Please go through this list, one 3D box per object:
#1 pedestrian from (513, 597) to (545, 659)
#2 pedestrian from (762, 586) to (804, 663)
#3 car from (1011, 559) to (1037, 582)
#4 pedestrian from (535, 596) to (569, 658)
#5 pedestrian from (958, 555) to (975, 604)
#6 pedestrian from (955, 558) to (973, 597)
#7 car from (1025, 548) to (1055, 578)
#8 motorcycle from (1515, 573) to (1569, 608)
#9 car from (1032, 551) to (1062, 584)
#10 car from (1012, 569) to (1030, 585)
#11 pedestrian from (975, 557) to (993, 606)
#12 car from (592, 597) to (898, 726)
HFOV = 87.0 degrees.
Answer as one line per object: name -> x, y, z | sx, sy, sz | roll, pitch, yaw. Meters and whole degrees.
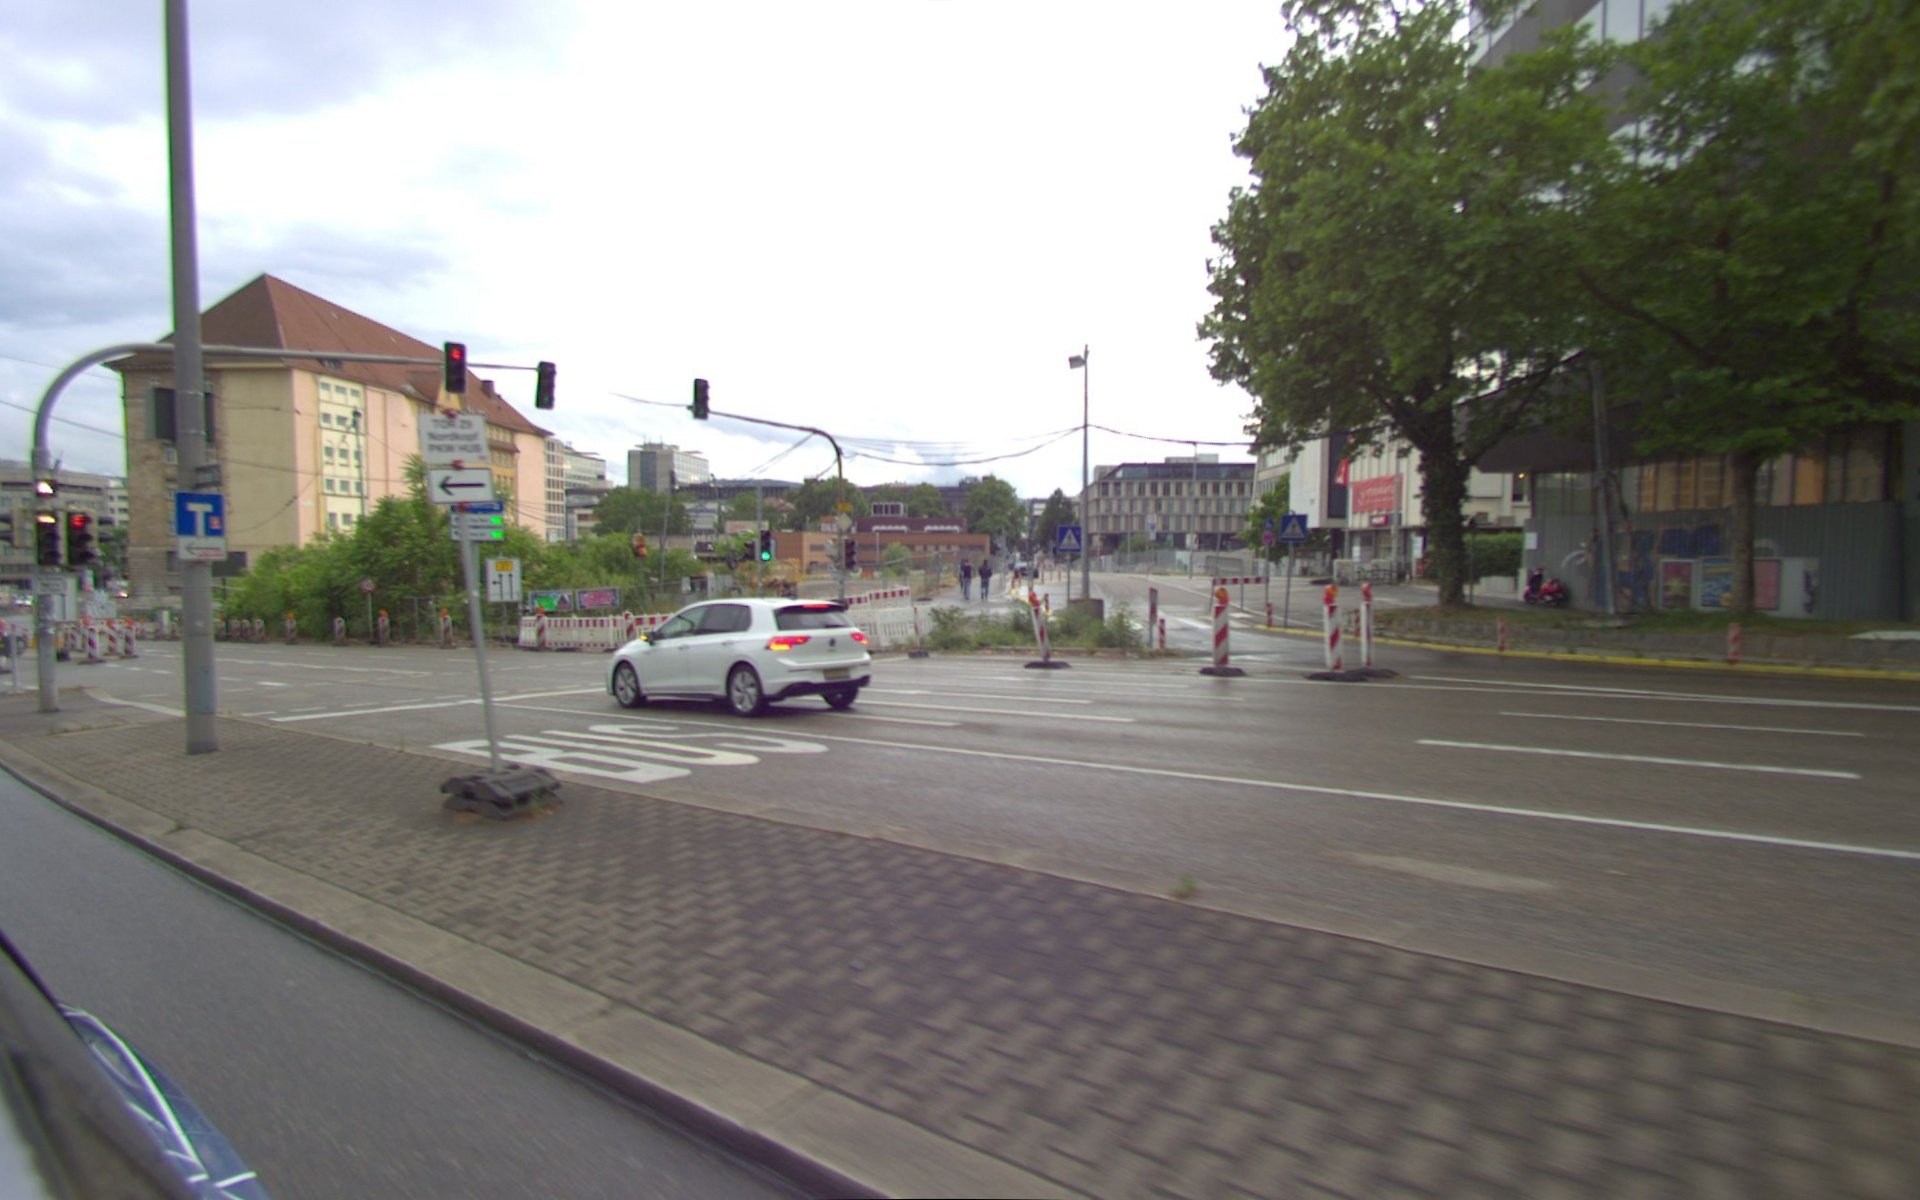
pedestrian -> -13.777, 0.893, 32.359 | 0.776, 1.915, 0.665 | 1, 3, 43
pedestrian -> -4.519, 0.609, 25.886 | 0.744, 1.894, 0.735 | 1, 2, 31
car -> 5.051, -2.332, 79.460 | 1.974, 1.718, 3.996 | 0, 2, 4
pedestrian -> -13.260, 0.859, 32.900 | 0.742, 1.936, 0.752 | 1, 3, 43
pedestrian -> 0.294, -0.932, 45.533 | 0.737, 2.187, 0.701 | 0, 2, 5
pedestrian -> 0.220, -1.091, 49.702 | 0.758, 1.866, 0.784 | -2, 1, 4
car -> 5.554, -2.568, 70.317 | 1.974, 2.028, 3.996 | 0, 2, 4
motorcycle -> 17.844, -0.303, 31.088 | 0.559, 1.045, 2.180 | -2, 1, 6
car -> 5.509, -2.078, 64.483 | 1.790, 1.980, 3.996 | 0, 2, 4
car -> 6.034, -2.247, 99.533 | 1.715, 1.536, 3.996 | 0, 2, 4
pedestrian -> 1.072, -0.816, 45.339 | 0.737, 2.156, 0.742 | -1, 2, 5
car -> -3.022, 0.754, 13.681 | 4.356, 1.472, 1.743 | -2, -1, 40
